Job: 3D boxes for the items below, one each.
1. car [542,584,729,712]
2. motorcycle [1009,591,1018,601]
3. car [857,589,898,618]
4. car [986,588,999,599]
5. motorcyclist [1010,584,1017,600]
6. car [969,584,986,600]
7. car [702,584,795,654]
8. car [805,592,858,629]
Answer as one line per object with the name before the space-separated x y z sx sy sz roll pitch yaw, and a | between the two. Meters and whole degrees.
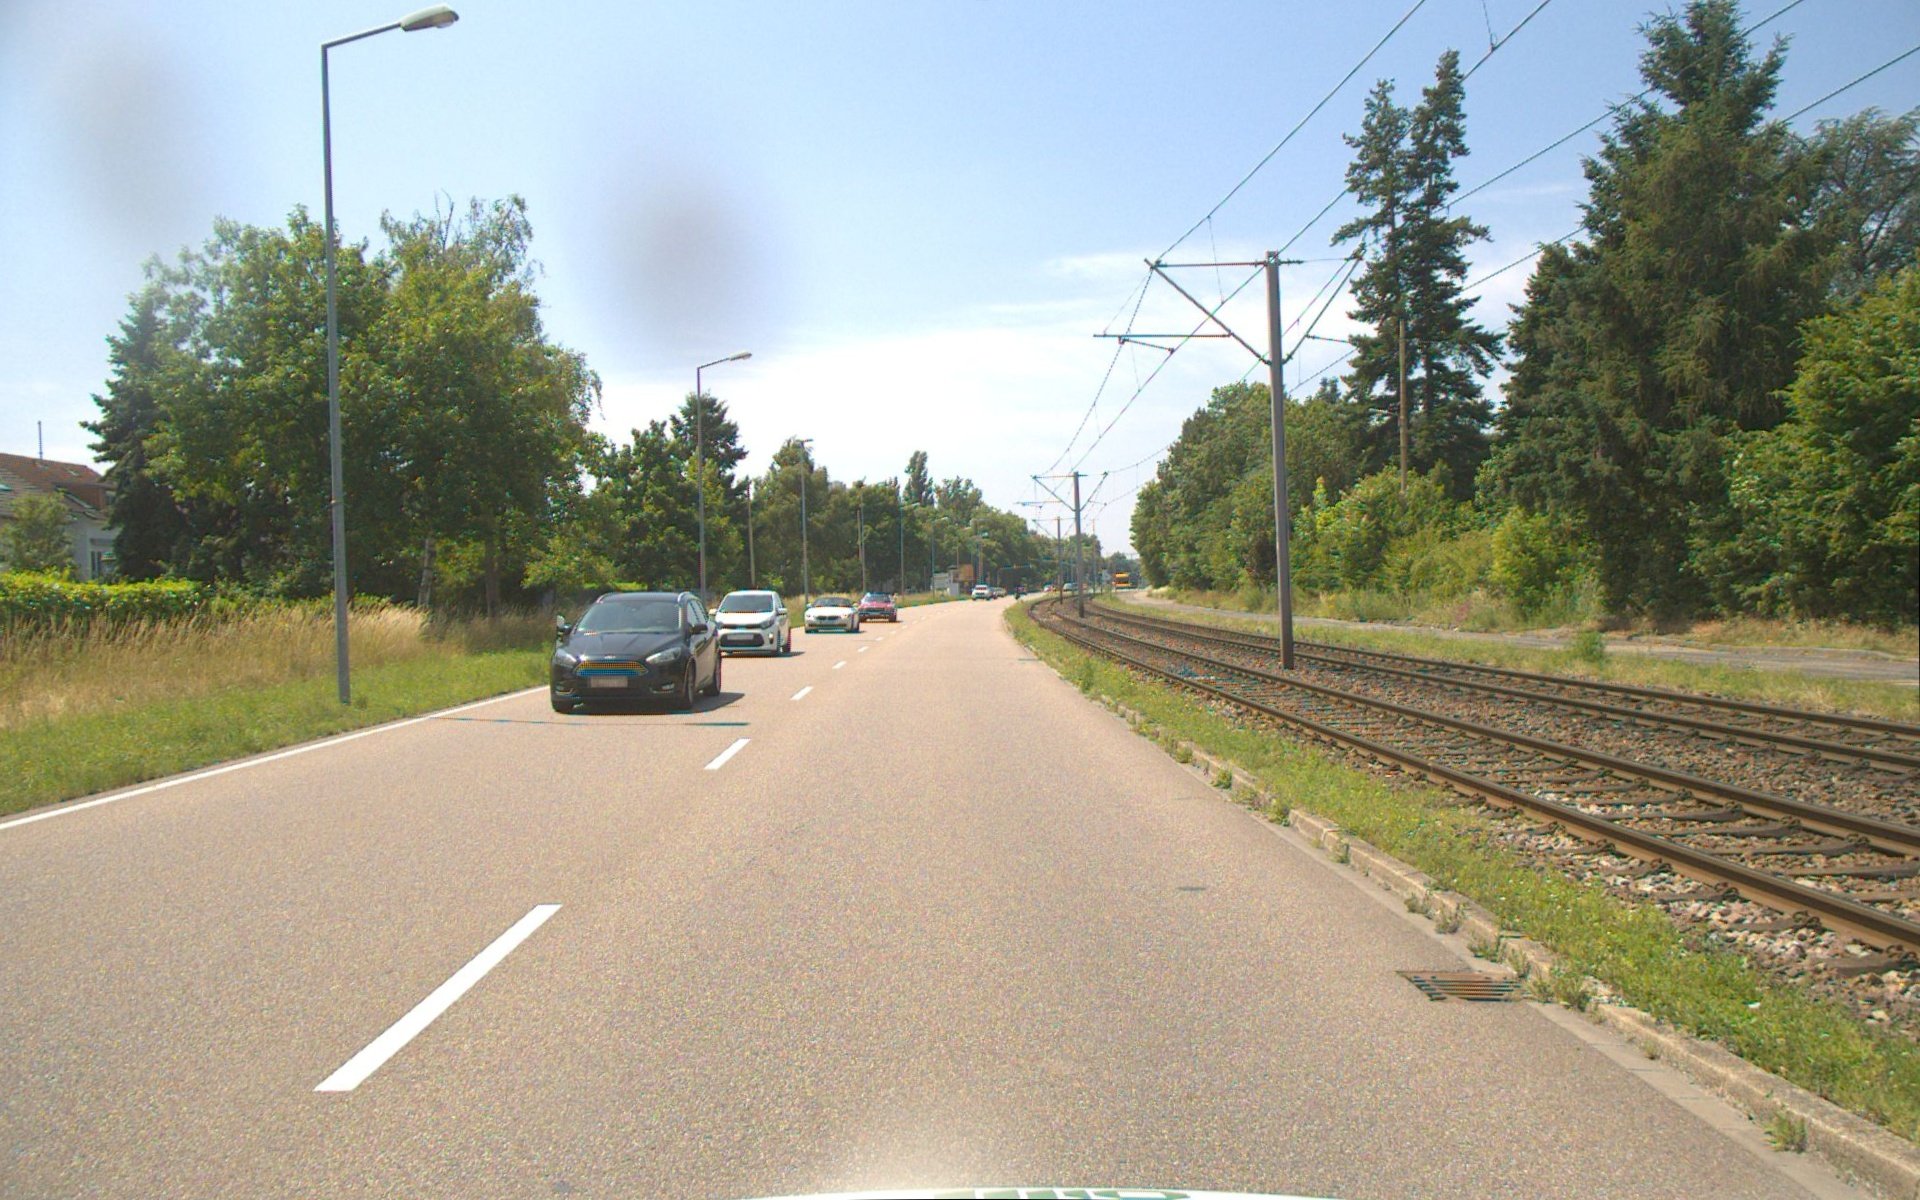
car | -4.225 0.574 22.153 1.666 1.517 4.439 -1 0 -1
motorcycle | 6.535 -0.504 201.538 0.950 1.137 2.734 -1 0 3
car | -3.899 0.151 78.690 1.713 1.324 4.253 -1 0 0
car | 4.669 -0.880 236.364 1.779 1.519 4.365 -1 0 2
motorcyclist | 6.535 -1.020 201.507 0.873 1.938 1.016 -1 0 3
car | 2.097 -0.973 194.110 1.895 1.827 4.713 -1 0 2
car | -4.910 0.415 38.780 1.711 1.529 3.706 -1 0 -1
car | -4.640 0.358 60.124 1.648 1.271 3.909 -1 0 -1
